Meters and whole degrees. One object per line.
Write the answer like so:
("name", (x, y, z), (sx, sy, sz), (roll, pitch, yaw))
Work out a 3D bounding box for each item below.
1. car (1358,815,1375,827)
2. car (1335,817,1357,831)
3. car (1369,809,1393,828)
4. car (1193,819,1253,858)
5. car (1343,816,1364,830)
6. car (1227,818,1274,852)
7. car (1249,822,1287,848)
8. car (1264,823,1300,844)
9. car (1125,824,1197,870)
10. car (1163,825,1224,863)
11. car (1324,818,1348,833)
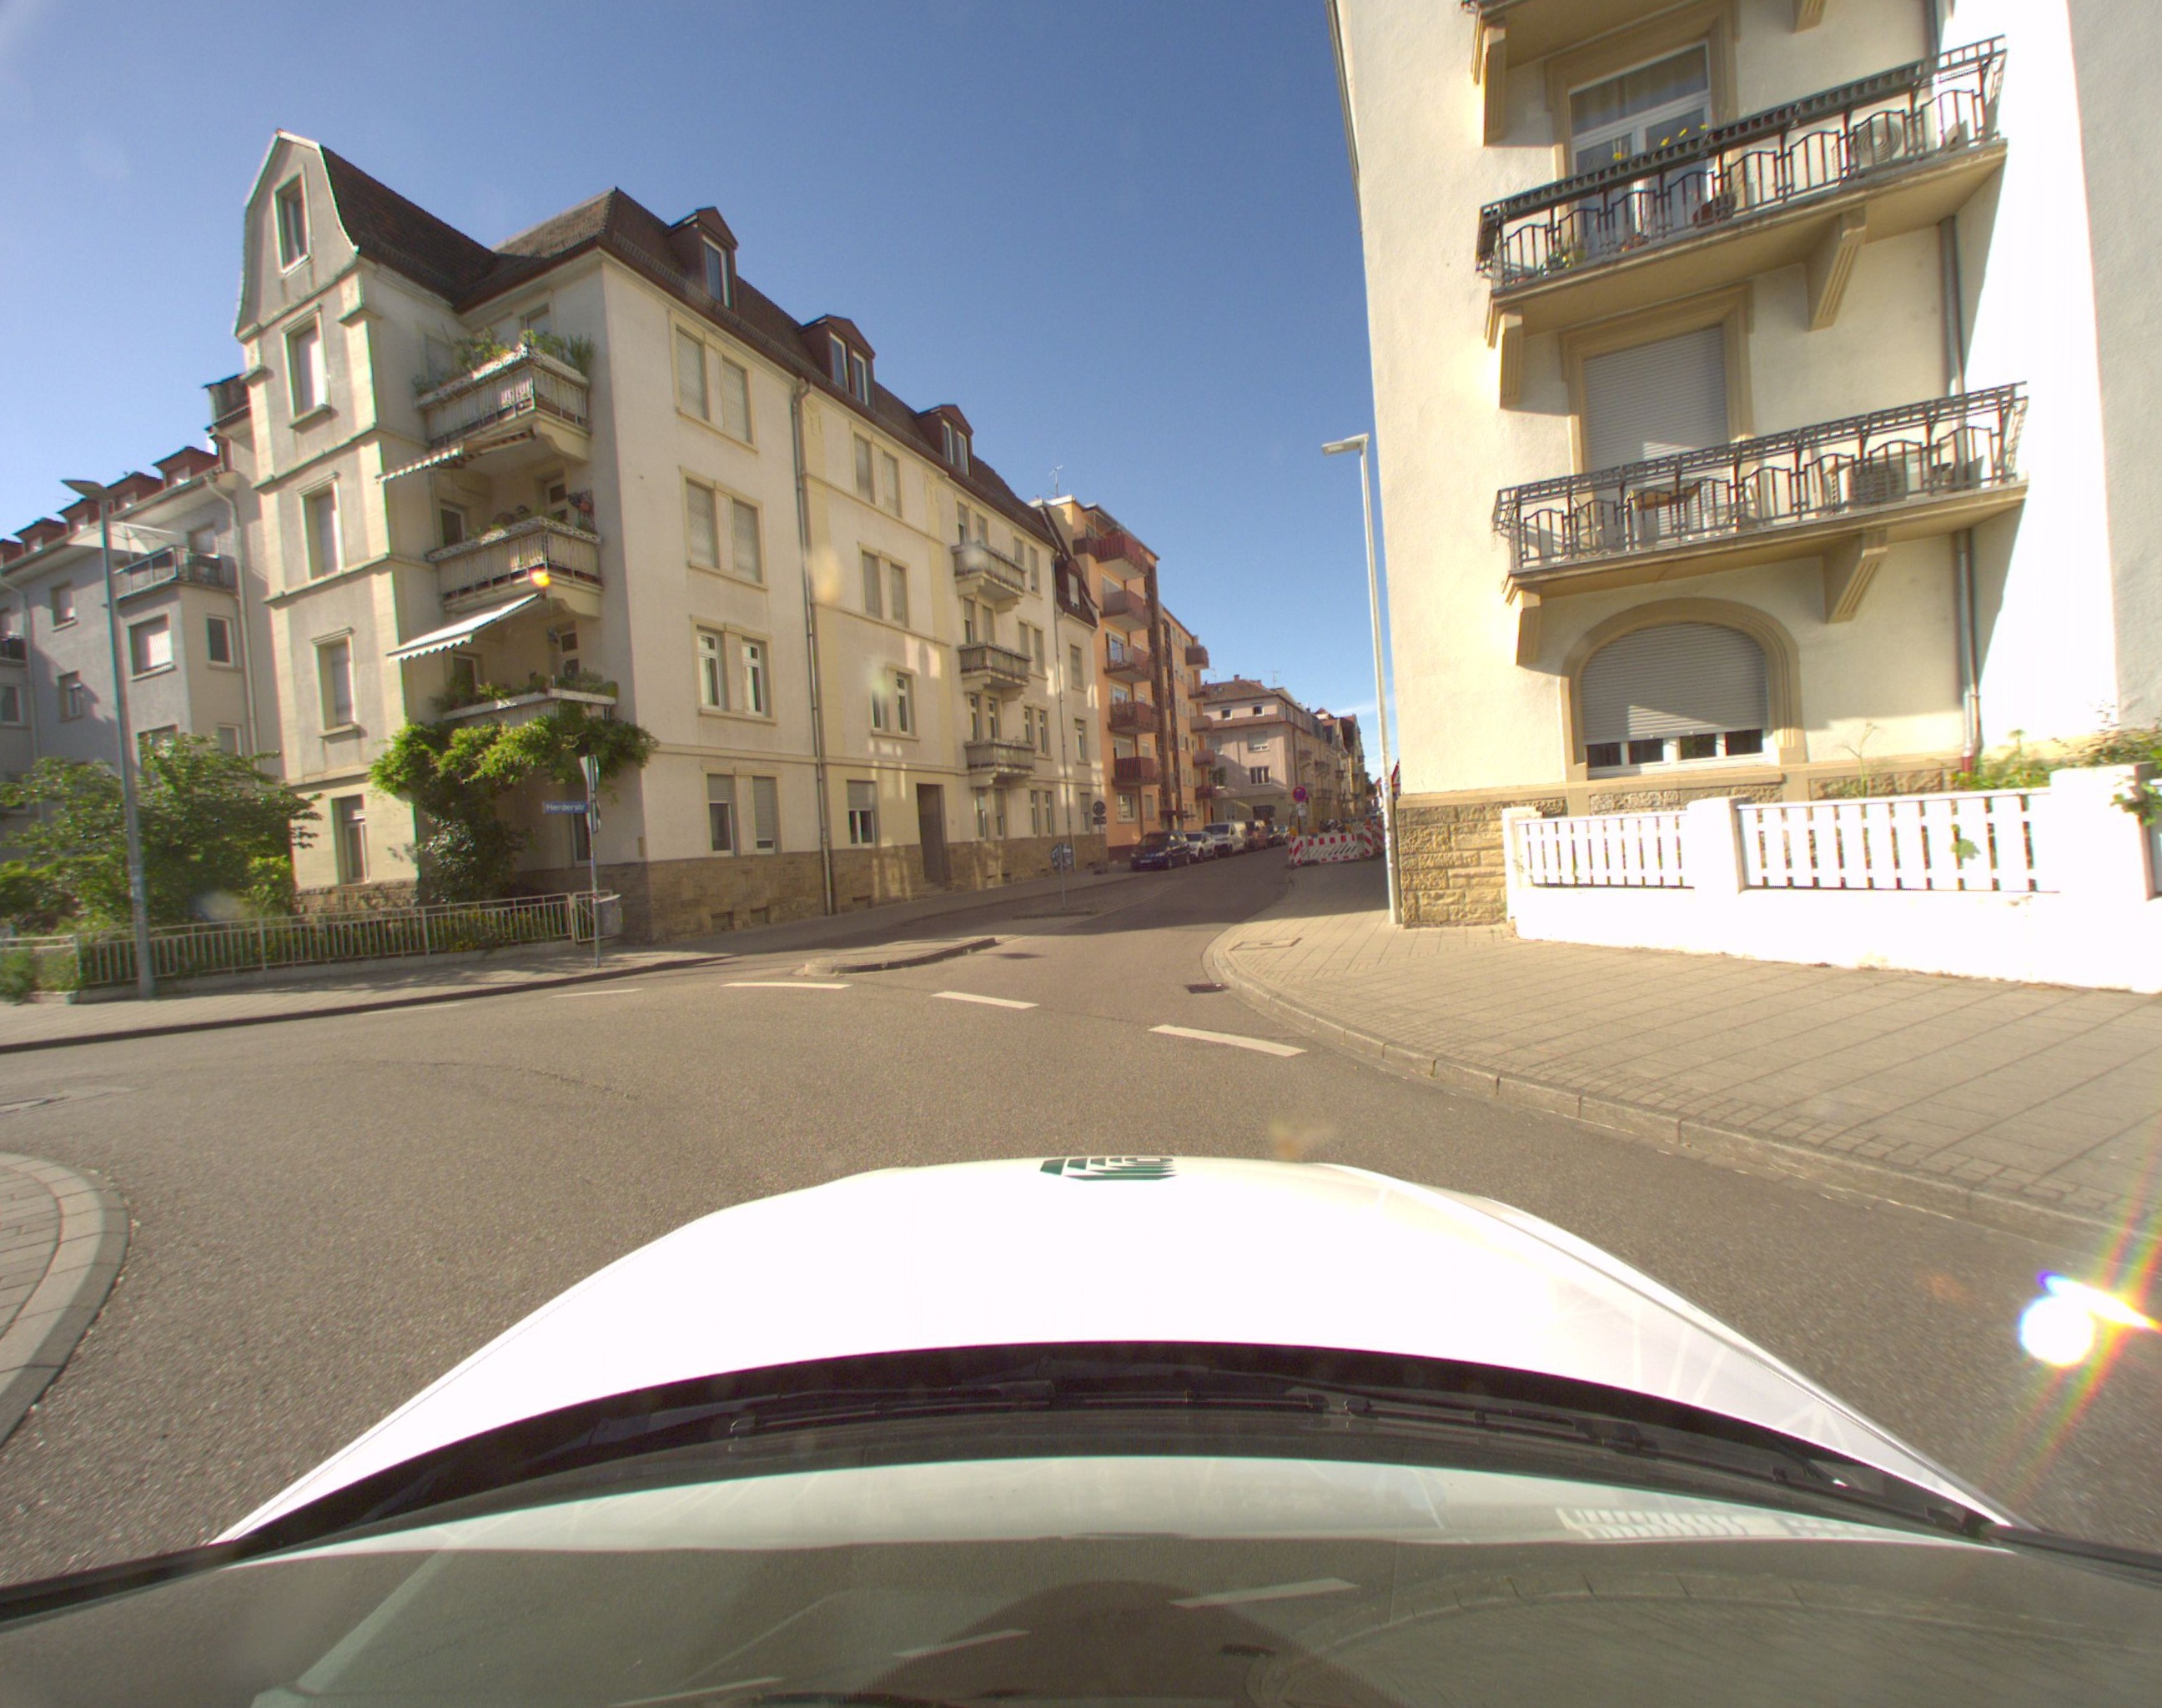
("car", (40.333, -4.702, 114.993), (1.985, 1.618, 4.513), (-1, 2, 24))
("car", (31.232, -3.561, 95.794), (1.985, 1.582, 4.513), (-1, 2, 24))
("car", (31.431, -3.696, 85.321), (1.985, 1.913, 4.514), (-1, 2, 25))
("car", (8.013, -0.936, 45.489), (1.957, 1.925, 5.341), (-3, 2, 24))
("car", (34.326, -3.916, 102.548), (1.985, 1.618, 4.513), (-1, 2, 24))
("car", (10.683, -1.220, 51.092), (1.746, 1.925, 4.964), (-3, 2, 24))
("car", (12.948, -1.333, 56.240), (1.747, 1.502, 4.023), (-4, 1, 24))
("car", (15.135, -1.584, 61.122), (1.746, 1.377, 4.505), (-3, 2, 25))
("car", (3.578, -0.353, 35.561), (1.746, 1.770, 4.320), (-3, 2, 24))
("car", (5.654, -0.530, 40.507), (1.746, 1.620, 4.320), (-3, 2, 24))
("car", (27.002, -3.017, 86.199), (1.664, 1.426, 4.300), (-1, 2, 26))
